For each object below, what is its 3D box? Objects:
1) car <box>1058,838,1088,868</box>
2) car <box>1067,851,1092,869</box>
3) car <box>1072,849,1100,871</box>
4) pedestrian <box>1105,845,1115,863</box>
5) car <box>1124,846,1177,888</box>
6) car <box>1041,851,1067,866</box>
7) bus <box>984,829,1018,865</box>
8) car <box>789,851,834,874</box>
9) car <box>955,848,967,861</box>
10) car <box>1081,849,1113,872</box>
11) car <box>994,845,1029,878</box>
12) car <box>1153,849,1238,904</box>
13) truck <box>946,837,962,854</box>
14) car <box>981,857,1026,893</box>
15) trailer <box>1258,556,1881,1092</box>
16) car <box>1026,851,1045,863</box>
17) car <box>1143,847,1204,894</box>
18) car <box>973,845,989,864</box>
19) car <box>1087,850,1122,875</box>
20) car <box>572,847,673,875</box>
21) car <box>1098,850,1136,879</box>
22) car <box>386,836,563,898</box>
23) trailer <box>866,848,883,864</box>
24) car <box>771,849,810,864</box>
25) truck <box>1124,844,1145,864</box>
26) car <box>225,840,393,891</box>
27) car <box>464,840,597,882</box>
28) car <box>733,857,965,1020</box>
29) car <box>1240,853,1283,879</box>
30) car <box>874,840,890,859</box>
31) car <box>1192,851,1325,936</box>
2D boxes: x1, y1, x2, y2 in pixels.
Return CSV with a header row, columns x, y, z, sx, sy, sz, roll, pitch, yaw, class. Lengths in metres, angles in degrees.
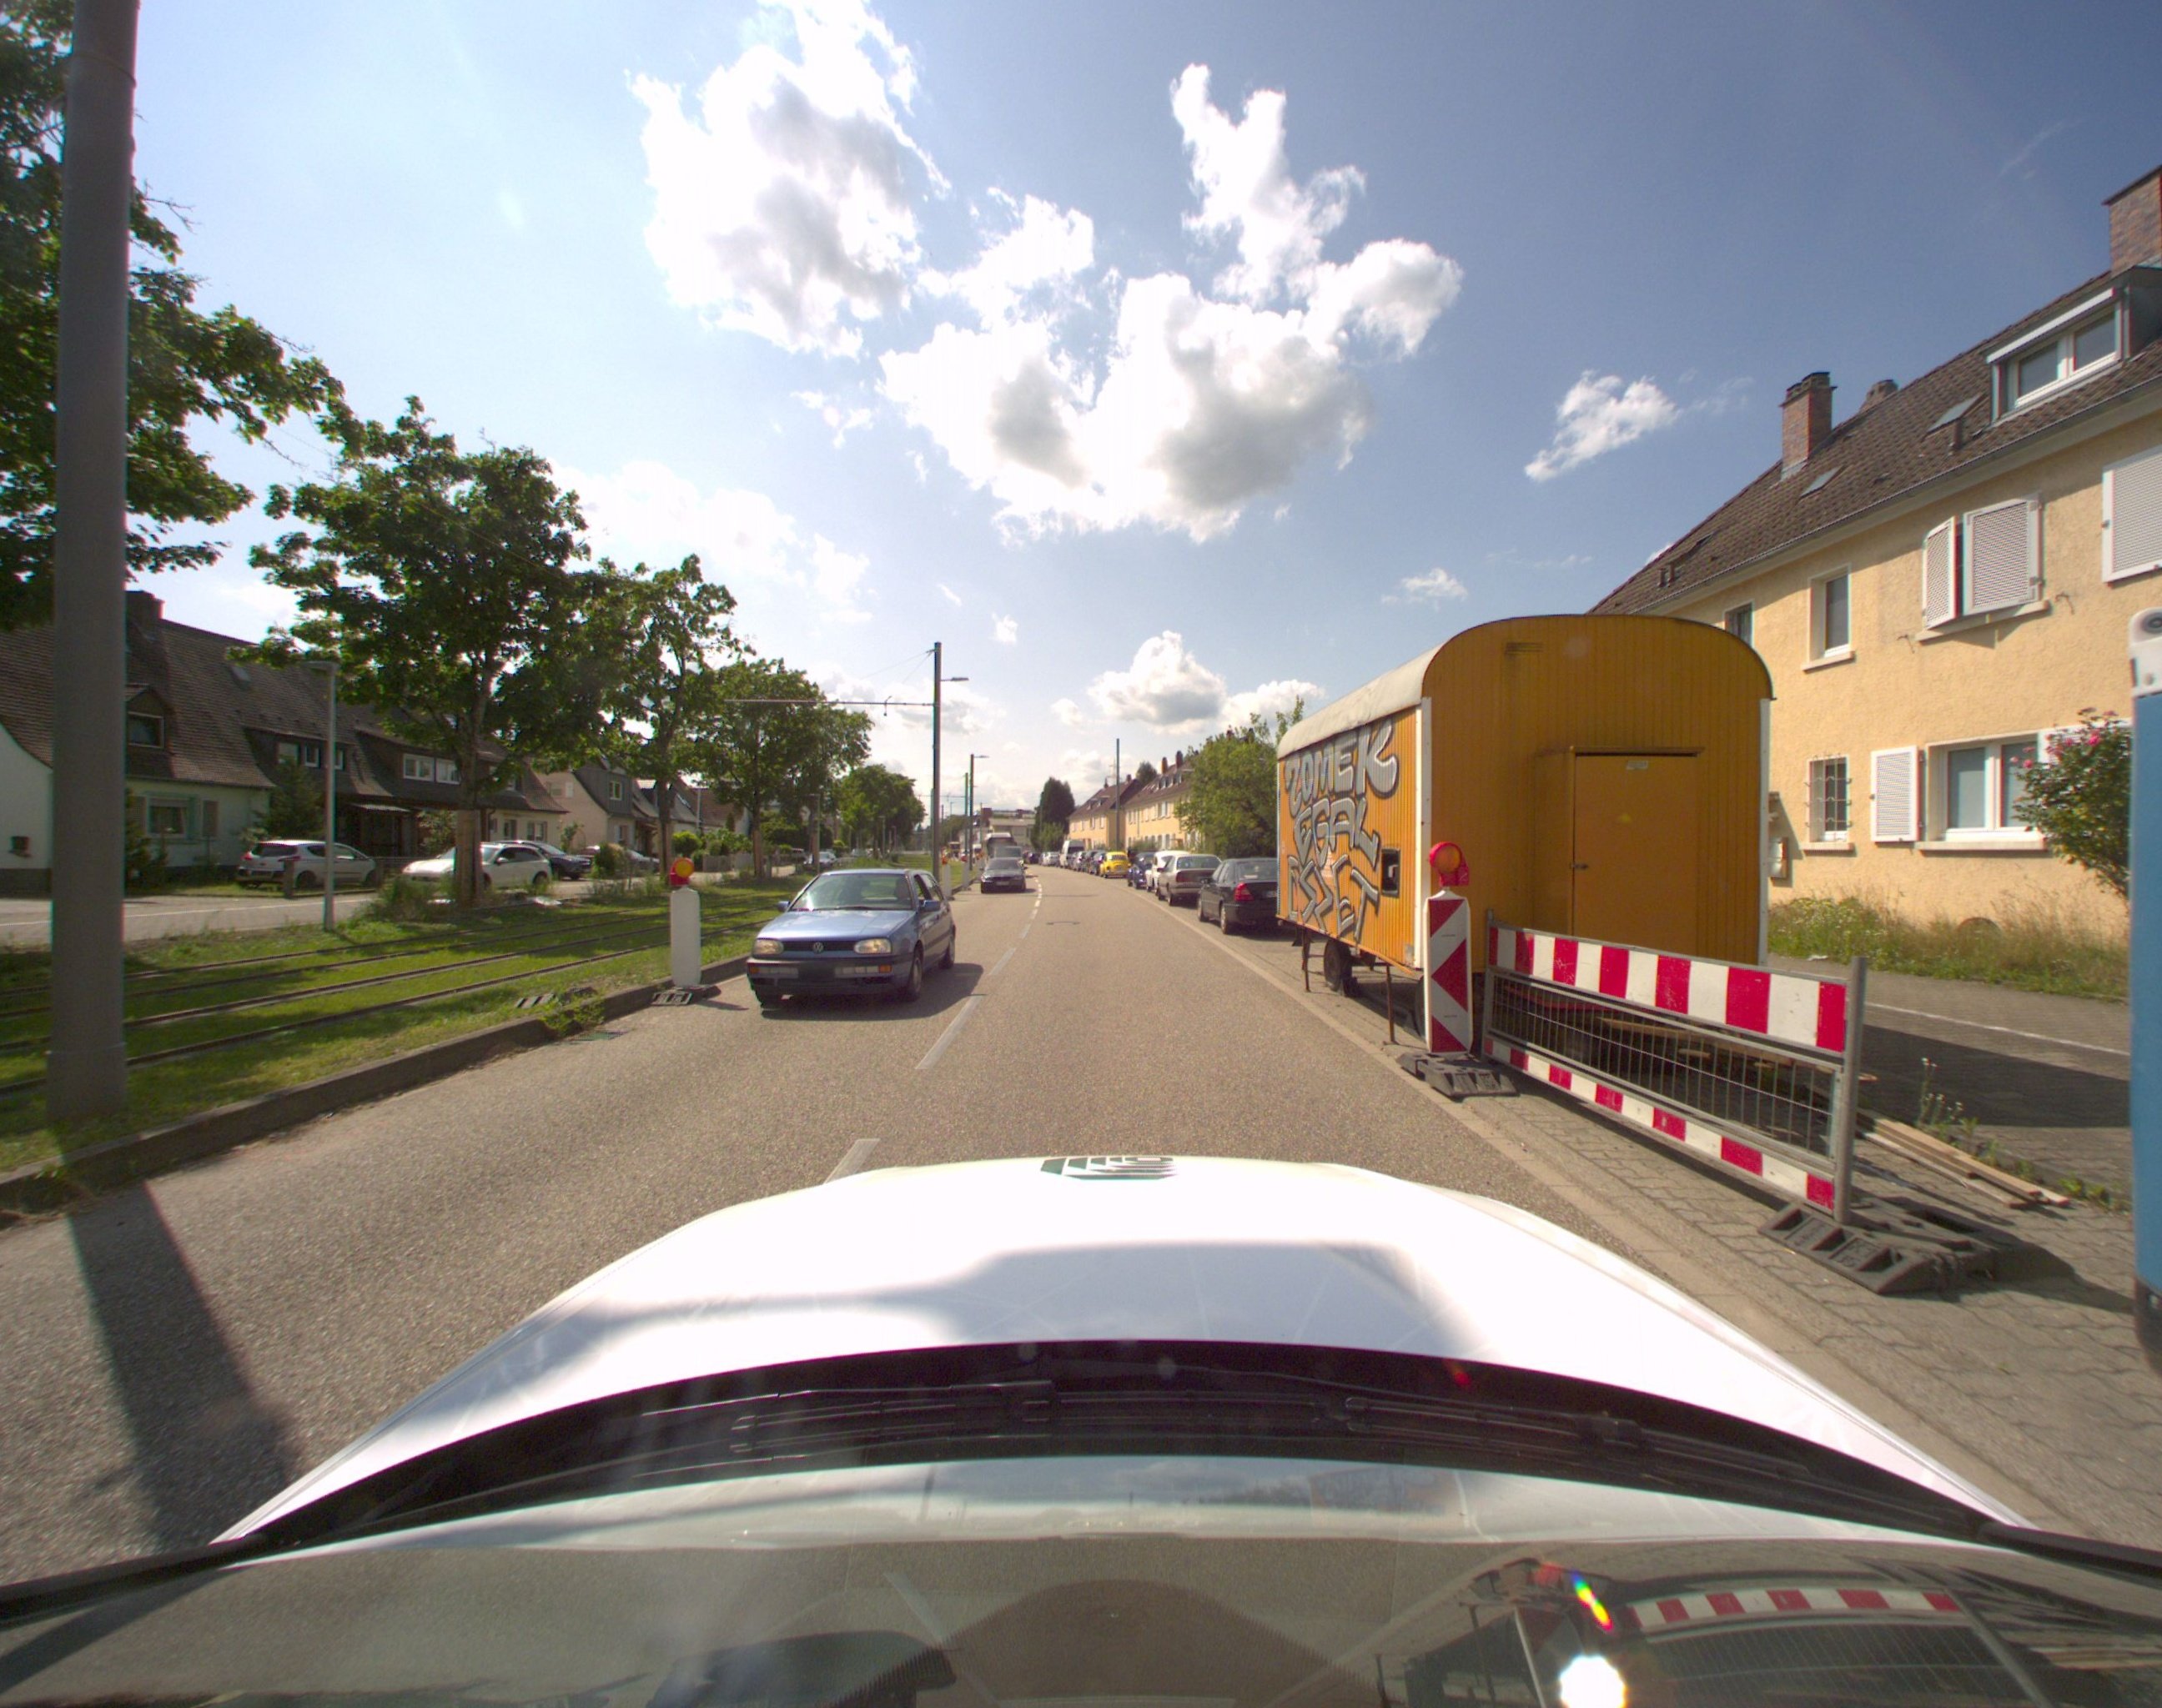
x,y,z,sx,sy,sz,roll,pitch,yaw,class
-0.744,-0.125,71.177,1.928,2.481,5.502,-1,0,-8,car
-0.143,0.449,65.856,1.534,1.445,3.728,0,0,-7,car
0.367,0.415,61.209,1.634,1.602,4.020,0,0,-7,car
2.769,-0.004,76.833,0.853,1.652,0.635,1,0,-7,pedestrian
2.859,0.492,34.047,1.546,1.641,4.240,0,0,-4,car
-2.832,0.461,83.800,1.800,1.458,4.745,-2,0,-12,car
-8.363,-0.729,83.876,2.636,3.412,12.209,-1,0,-9,bus
-17.487,0.522,53.024,1.817,1.406,4.802,0,0,-6,car
-17.270,0.081,117.291,1.734,1.773,4.295,0,0,-9,car
1.091,0.425,57.142,1.636,1.602,3.919,0,0,-9,car
-4.432,0.439,52.683,1.950,1.966,5.289,-1,0,-2,car
3.223,0.584,23.824,1.702,1.449,4.832,0,0,-1,car
-26.107,-1.763,167.208,2.562,3.459,7.120,-2,1,-12,truck
-3.181,0.818,33.721,1.721,1.389,4.114,0,0,-5,car
3.520,-0.187,7.470,2.682,3.226,5.080,0,0,0,trailer
-5.504,0.313,97.844,1.765,1.417,3.984,-2,1,-11,car
3.202,0.531,28.921,1.573,1.513,4.457,0,0,-1,car
-13.207,0.069,107.338,2.101,2.443,5.556,0,0,-8,car
1.478,0.512,51.664,1.634,1.482,4.115,0,0,-7,car
-25.633,0.394,45.670,4.465,1.523,1.921,0,0,-7,car
2.004,0.543,46.542,1.633,1.482,3.925,-3,1,-5,car
-18.992,0.377,25.875,1.876,1.768,5.081,0,0,-1,car
-22.633,0.196,89.307,1.566,1.678,3.359,0,0,-11,trailer
-32.775,0.268,91.861,3.993,1.571,1.786,0,0,-14,car
4.546,0.028,69.480,1.345,1.688,2.435,0,0,-7,truck
-24.515,0.332,26.078,1.725,1.517,4.037,0,0,-5,car
-24.826,0.330,36.874,4.465,1.836,2.060,0,0,-7,car
-2.495,0.809,9.758,1.661,1.449,3.957,-2,0,-1,car
10.059,0.651,45.552,1.630,1.355,4.090,0,0,2,car
-30.467,-0.665,124.349,2.078,2.721,6.965,-2,1,-15,car
3.333,0.672,16.117,1.573,1.449,4.450,0,0,-1,car
